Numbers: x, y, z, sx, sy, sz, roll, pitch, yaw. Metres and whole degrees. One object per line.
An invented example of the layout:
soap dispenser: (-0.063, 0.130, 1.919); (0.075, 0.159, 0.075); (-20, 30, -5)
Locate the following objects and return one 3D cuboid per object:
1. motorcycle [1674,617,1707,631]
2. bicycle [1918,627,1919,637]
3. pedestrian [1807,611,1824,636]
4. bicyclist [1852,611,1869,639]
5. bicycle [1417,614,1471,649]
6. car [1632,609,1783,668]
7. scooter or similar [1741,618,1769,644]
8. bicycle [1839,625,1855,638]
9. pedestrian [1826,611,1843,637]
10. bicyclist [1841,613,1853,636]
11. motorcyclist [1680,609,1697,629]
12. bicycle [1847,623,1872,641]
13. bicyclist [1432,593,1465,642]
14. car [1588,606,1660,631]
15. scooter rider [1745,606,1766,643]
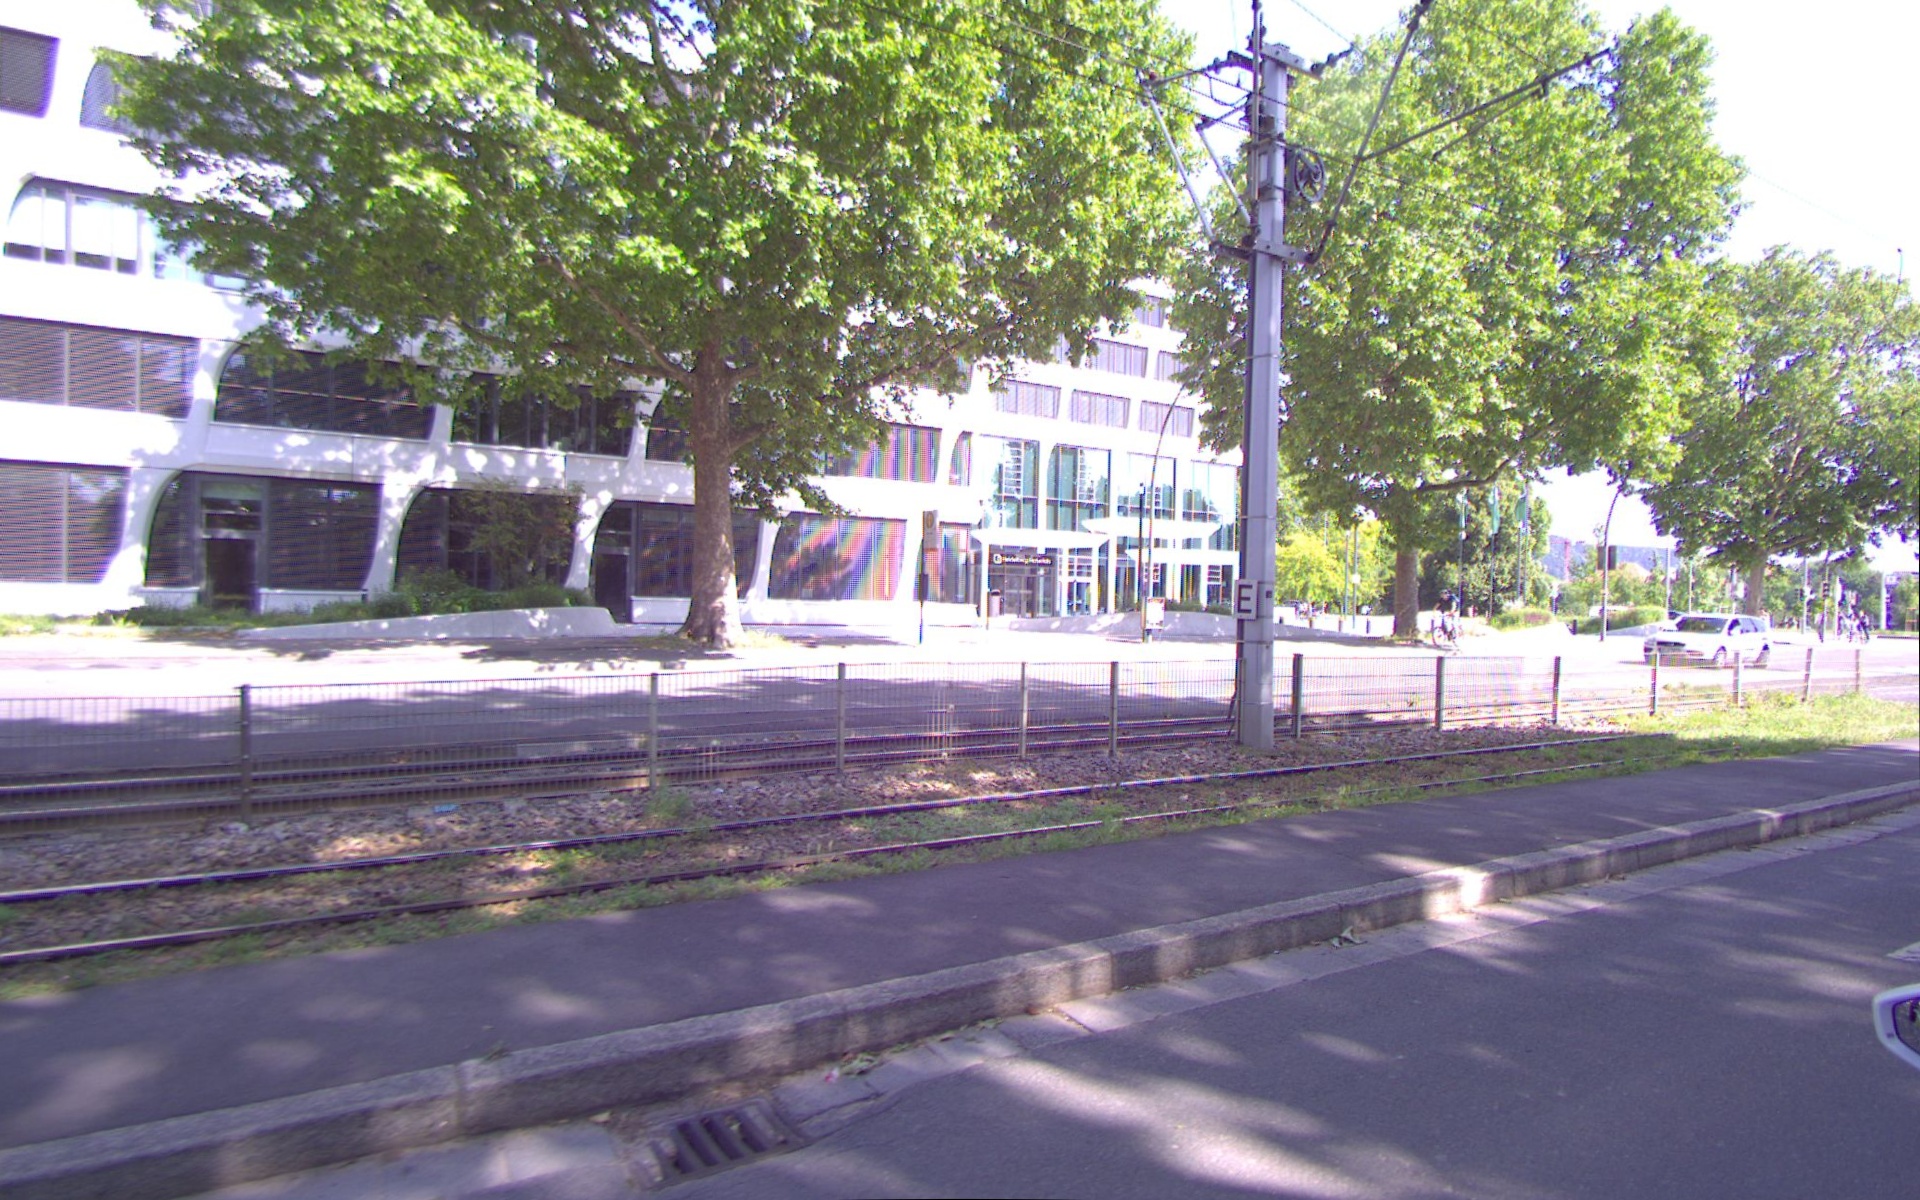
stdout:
motorcycle: (49.500, 1.619, 68.069); (0.642, 0.903, 1.636); (1, 1, -29)
bicycle: (72.050, 2.387, 74.482); (1.590, 0.741, 0.493); (2, 1, -1)
pedestrian: (53.805, 1.458, 63.190); (0.637, 1.562, 0.619); (1, 1, -30)
bicyclist: (48.152, 1.330, 53.730); (0.585, 1.435, 0.477); (1, 1, -30)
bicycle: (16.293, 1.056, 33.787); (1.861, 1.109, 0.664); (1, 1, -29)
car: (21.088, 1.058, 28.316); (4.332, 1.508, 1.788); (1, 1, -29)
scooter or similar: (36.086, 1.413, 45.589); (1.233, 1.127, 0.545); (1, 1, -29)
bicycle: (51.489, 1.831, 58.319); (1.134, 0.758, 0.418); (1, 1, -34)
pedestrian: (54.213, 1.468, 62.281); (0.776, 1.562, 0.617); (1, 1, -40)
bicyclist: (51.490, 1.442, 58.299); (0.461, 1.329, 0.383); (1, 1, -33)
motorcyclist: (49.452, 1.273, 68.181); (0.597, 1.332, 0.749); (1, 1, -29)
bicycle: (48.120, 1.711, 53.728); (1.635, 0.974, 0.482); (1, 1, -30)
bicyclist: (16.472, 0.585, 33.878); (0.828, 1.625, 0.572); (1, 1, -29)
car: (46.463, 1.261, 70.350); (1.748, 1.569, 3.830); (1, 1, -29)
scooter rider: (36.117, 1.124, 45.597); (0.559, 1.653, 0.504); (1, 1, -29)
